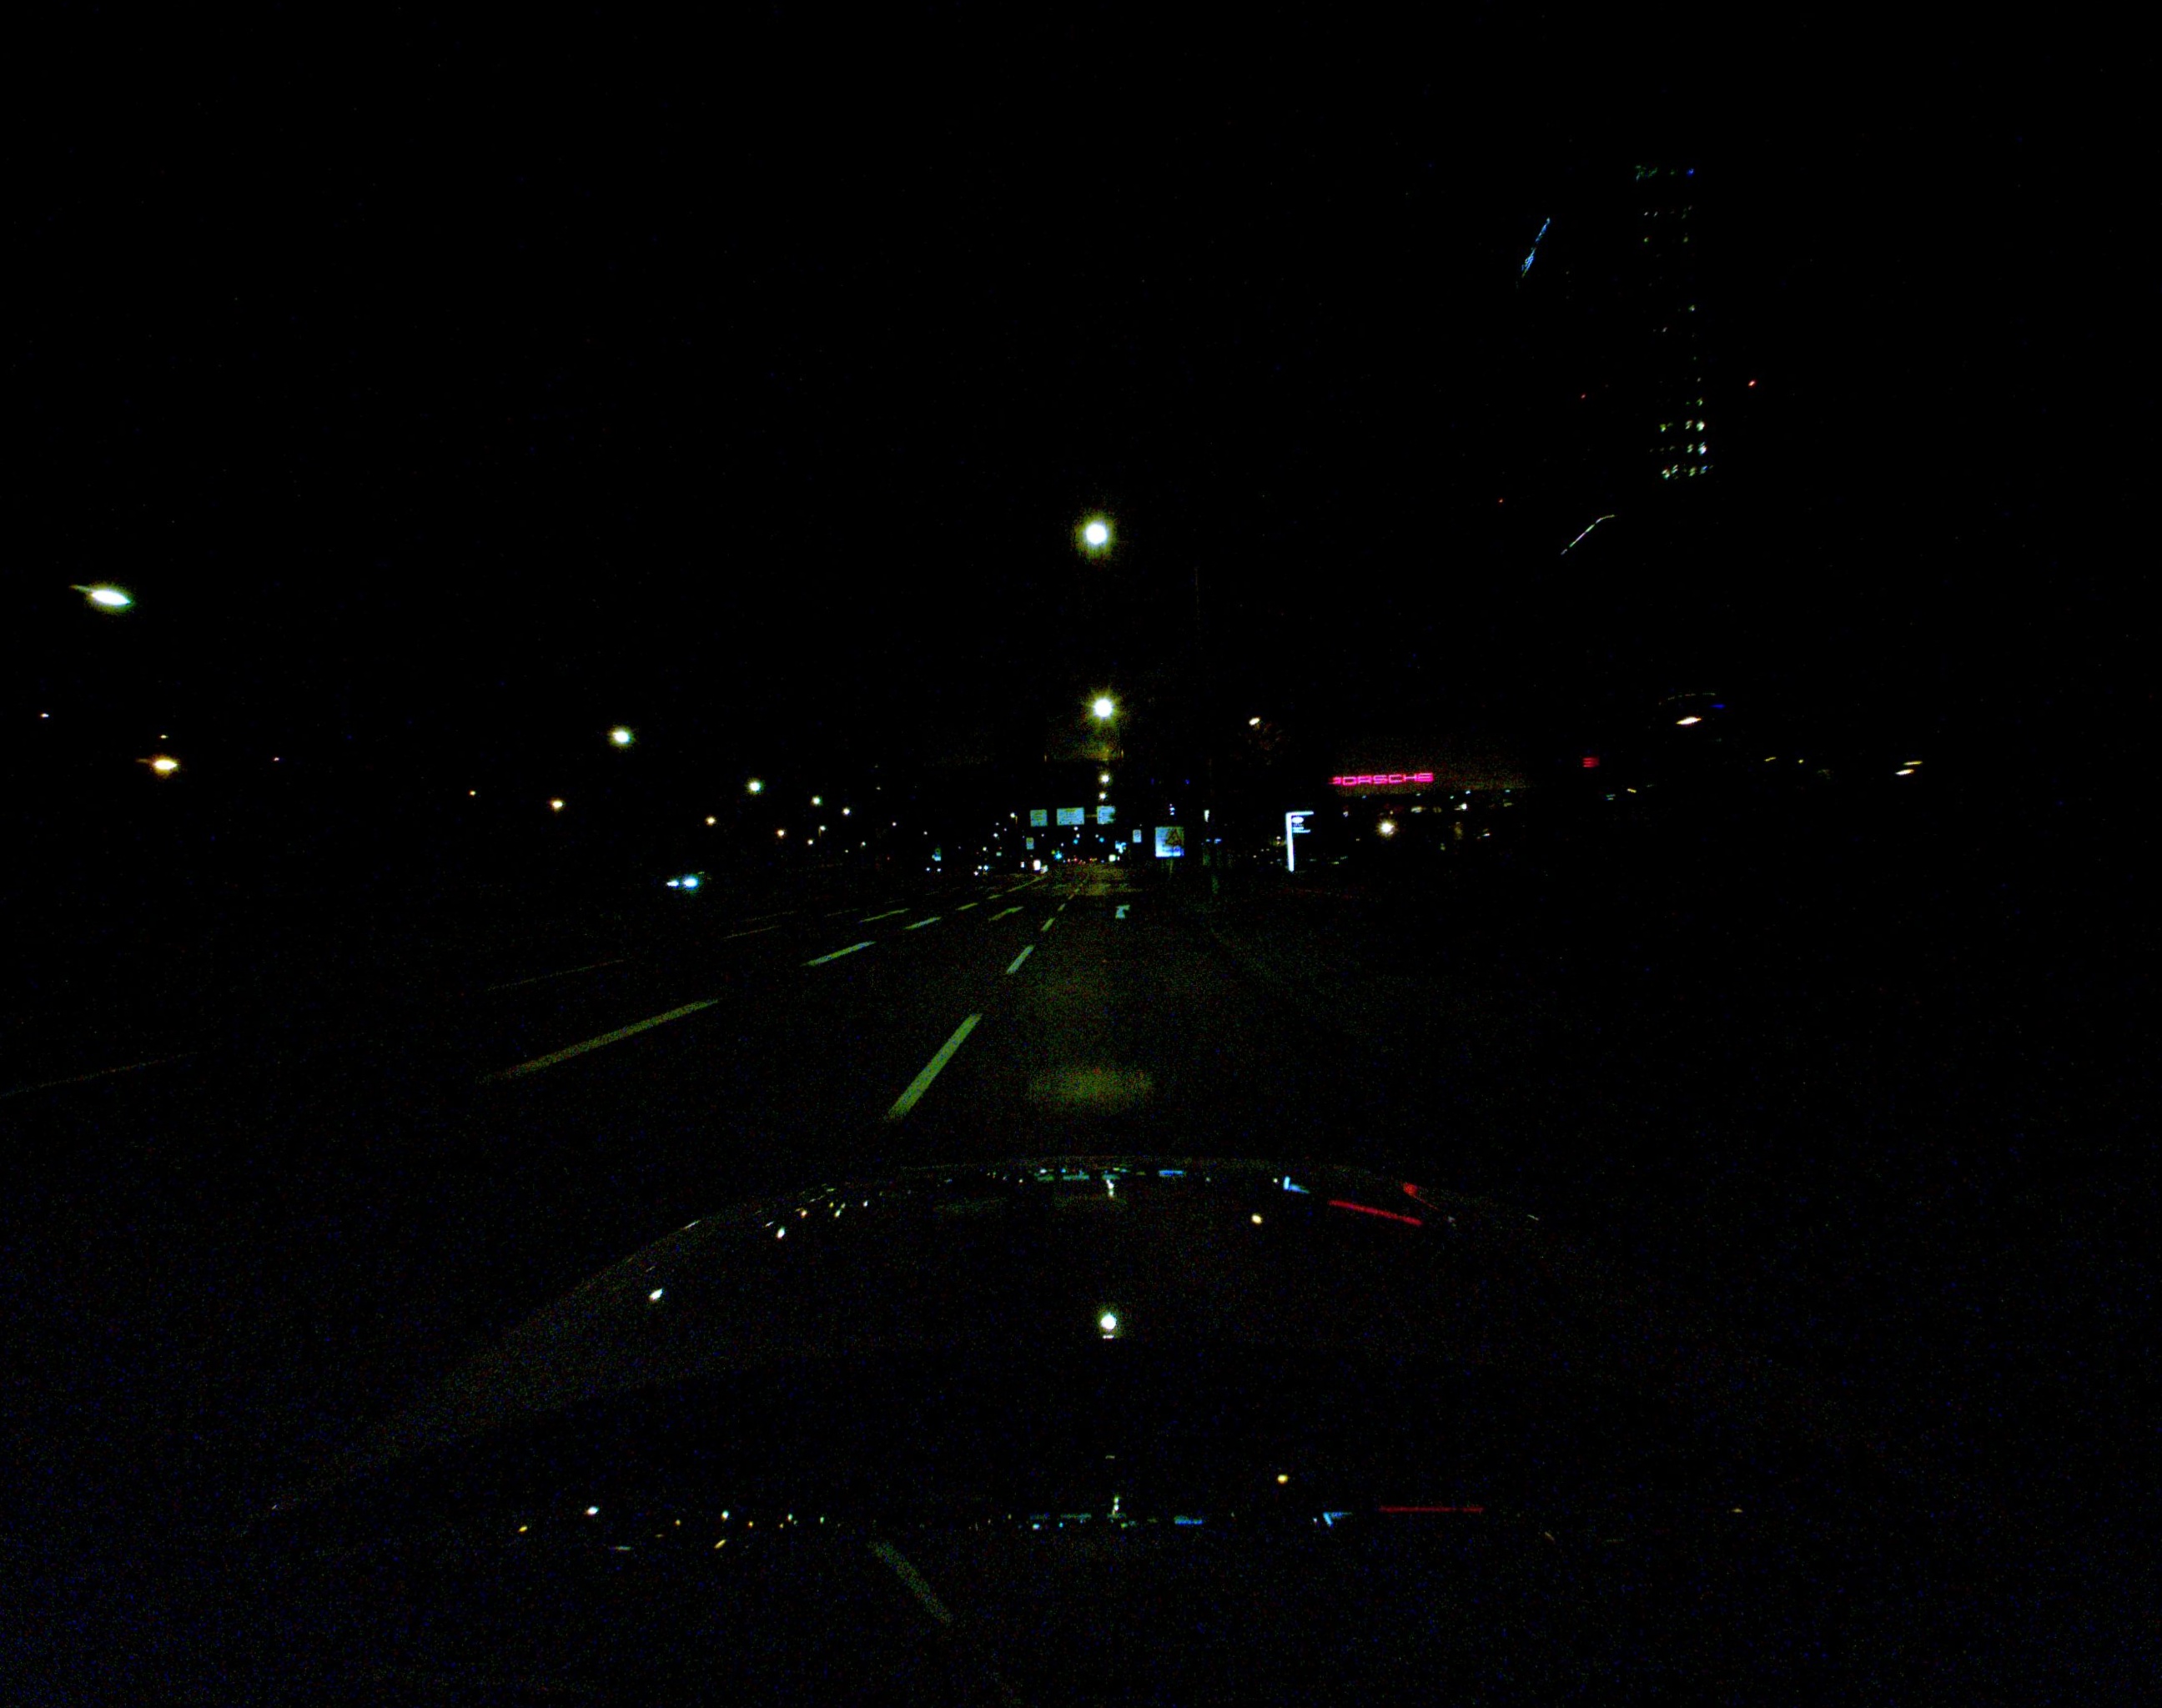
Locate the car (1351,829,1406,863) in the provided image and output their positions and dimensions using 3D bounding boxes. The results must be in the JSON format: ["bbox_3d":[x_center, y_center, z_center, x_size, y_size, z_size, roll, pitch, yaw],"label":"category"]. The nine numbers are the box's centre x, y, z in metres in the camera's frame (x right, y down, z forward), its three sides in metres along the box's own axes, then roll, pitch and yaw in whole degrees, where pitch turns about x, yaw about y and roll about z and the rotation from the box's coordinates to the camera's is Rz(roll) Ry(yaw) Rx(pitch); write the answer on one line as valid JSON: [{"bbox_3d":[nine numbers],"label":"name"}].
[{"bbox_3d":[14.767,-0.347,40.570,1.881,1.511,3.644,-1,-2,9],"label":"car"}]

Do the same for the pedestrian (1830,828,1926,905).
[{"bbox_3d":[11.406,0.185,11.670,0.776,1.038,0.902,-1,-2,-45],"label":"pedestrian"}]

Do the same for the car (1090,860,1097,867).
[{"bbox_3d":[3.340,2.446,214.625,1.774,1.728,4.001,-1,-2,1],"label":"car"}]

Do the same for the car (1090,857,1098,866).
[{"bbox_3d":[3.162,1.900,200.925,1.986,2.014,4.001,-1,-2,1],"label":"car"}]

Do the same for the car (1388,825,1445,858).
[{"bbox_3d":[17.218,-0.588,41.963,1.881,1.511,3.644,-1,-2,9],"label":"car"}]

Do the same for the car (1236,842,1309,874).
[{"bbox_3d":[11.594,0.247,49.558,3.976,1.856,1.820,-1,-2,-2],"label":"car"}]

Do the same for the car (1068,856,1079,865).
[{"bbox_3d":[-1.493,1.225,162.709,1.959,1.711,4.004,-1,-2,4],"label":"car"}]

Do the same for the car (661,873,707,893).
[{"bbox_3d":[-30.614,2.196,62.867,1.619,1.481,3.681,-1,-2,3],"label":"car"}]

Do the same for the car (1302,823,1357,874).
[{"bbox_3d":[10.399,-0.151,33.933,1.977,1.945,4.019,-1,-2,19],"label":"car"}]

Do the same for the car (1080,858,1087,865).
[{"bbox_3d":[0.701,2.138,229.190,1.986,1.596,4.001,-2,-2,2],"label":"car"}]

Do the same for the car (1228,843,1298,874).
[{"bbox_3d":[11.524,0.317,51.739,3.976,1.856,1.820,-1,-2,-2],"label":"car"}]

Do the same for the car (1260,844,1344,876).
[{"bbox_3d":[10.780,0.301,39.848,3.615,1.451,1.706,-1,-2,-2],"label":"car"}]

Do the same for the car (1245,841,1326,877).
[{"bbox_3d":[11.188,0.292,44.731,3.976,1.856,1.820,-1,-2,-2],"label":"car"}]

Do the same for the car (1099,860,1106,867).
[{"bbox_3d":[6.025,2.612,229.193,1.831,1.838,4.001,-1,-2,1],"label":"car"}]

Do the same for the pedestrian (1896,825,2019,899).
[{"bbox_3d":[12.392,0.115,11.531,0.999,1.008,0.768,0,-2,-14],"label":"pedestrian"}]

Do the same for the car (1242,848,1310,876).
[{"bbox_3d":[11.237,0.487,47.087,3.501,1.508,1.734,-1,-2,-2],"label":"car"}]

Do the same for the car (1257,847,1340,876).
[{"bbox_3d":[11.174,0.388,42.071,3.813,1.411,1.710,-1,-2,-1],"label":"car"}]
